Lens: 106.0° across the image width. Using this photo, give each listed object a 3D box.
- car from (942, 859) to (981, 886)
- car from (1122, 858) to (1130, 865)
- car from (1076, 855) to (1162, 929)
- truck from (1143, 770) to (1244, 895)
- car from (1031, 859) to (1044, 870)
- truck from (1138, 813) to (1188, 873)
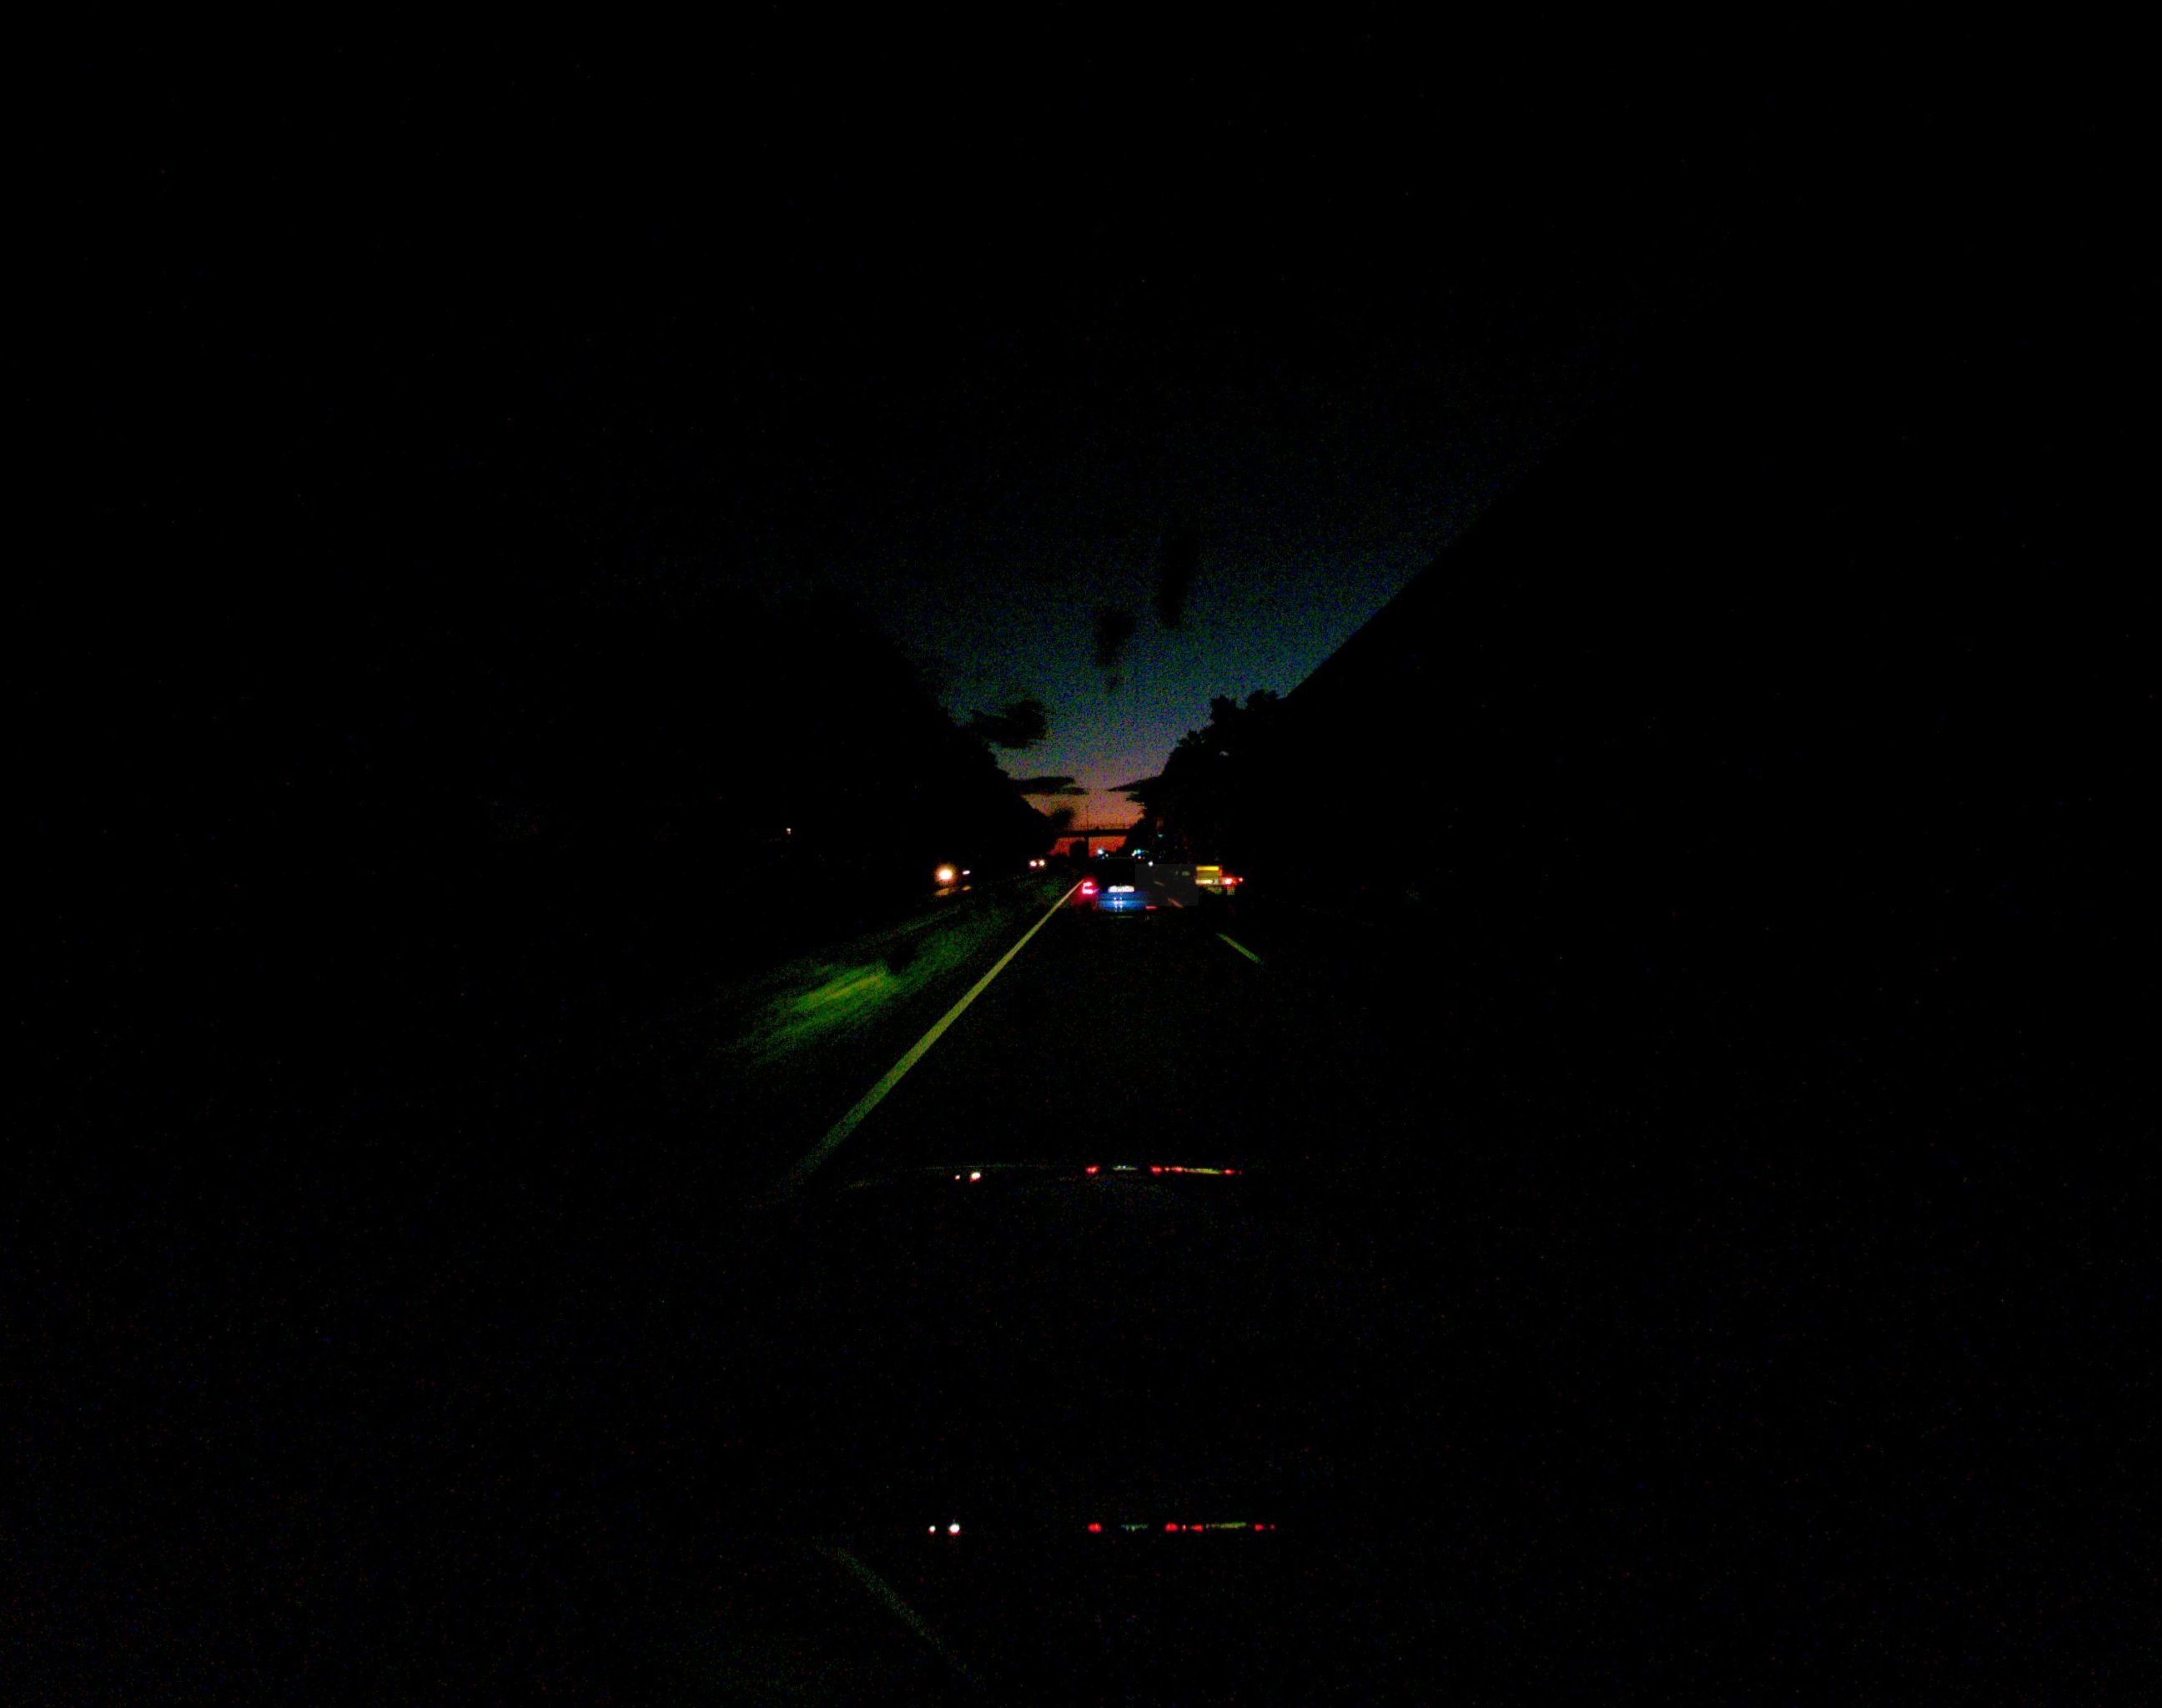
[{"bbox_3d":[-7.506,1.140,51.454,1.676,1.587,4.168,0,0,2],"label":"car"},{"bbox_3d":[9.991,1.689,182.723,1.689,1.452,3.915,0,-1,2],"label":"car"},{"bbox_3d":[0.813,0.774,18.180,1.689,1.452,3.915,0,-1,2],"label":"car"},{"bbox_3d":[4.213,-0.666,33.432,2.677,4.106,13.145,0,-1,2],"label":"truck"},{"bbox_3d":[-6.517,1.583,122.417,1.611,1.507,3.870,0,-1,2],"label":"car"},{"bbox_3d":[6.030,-0.700,62.149,2.872,4.106,12.687,0,-1,2],"label":"truck"}]
